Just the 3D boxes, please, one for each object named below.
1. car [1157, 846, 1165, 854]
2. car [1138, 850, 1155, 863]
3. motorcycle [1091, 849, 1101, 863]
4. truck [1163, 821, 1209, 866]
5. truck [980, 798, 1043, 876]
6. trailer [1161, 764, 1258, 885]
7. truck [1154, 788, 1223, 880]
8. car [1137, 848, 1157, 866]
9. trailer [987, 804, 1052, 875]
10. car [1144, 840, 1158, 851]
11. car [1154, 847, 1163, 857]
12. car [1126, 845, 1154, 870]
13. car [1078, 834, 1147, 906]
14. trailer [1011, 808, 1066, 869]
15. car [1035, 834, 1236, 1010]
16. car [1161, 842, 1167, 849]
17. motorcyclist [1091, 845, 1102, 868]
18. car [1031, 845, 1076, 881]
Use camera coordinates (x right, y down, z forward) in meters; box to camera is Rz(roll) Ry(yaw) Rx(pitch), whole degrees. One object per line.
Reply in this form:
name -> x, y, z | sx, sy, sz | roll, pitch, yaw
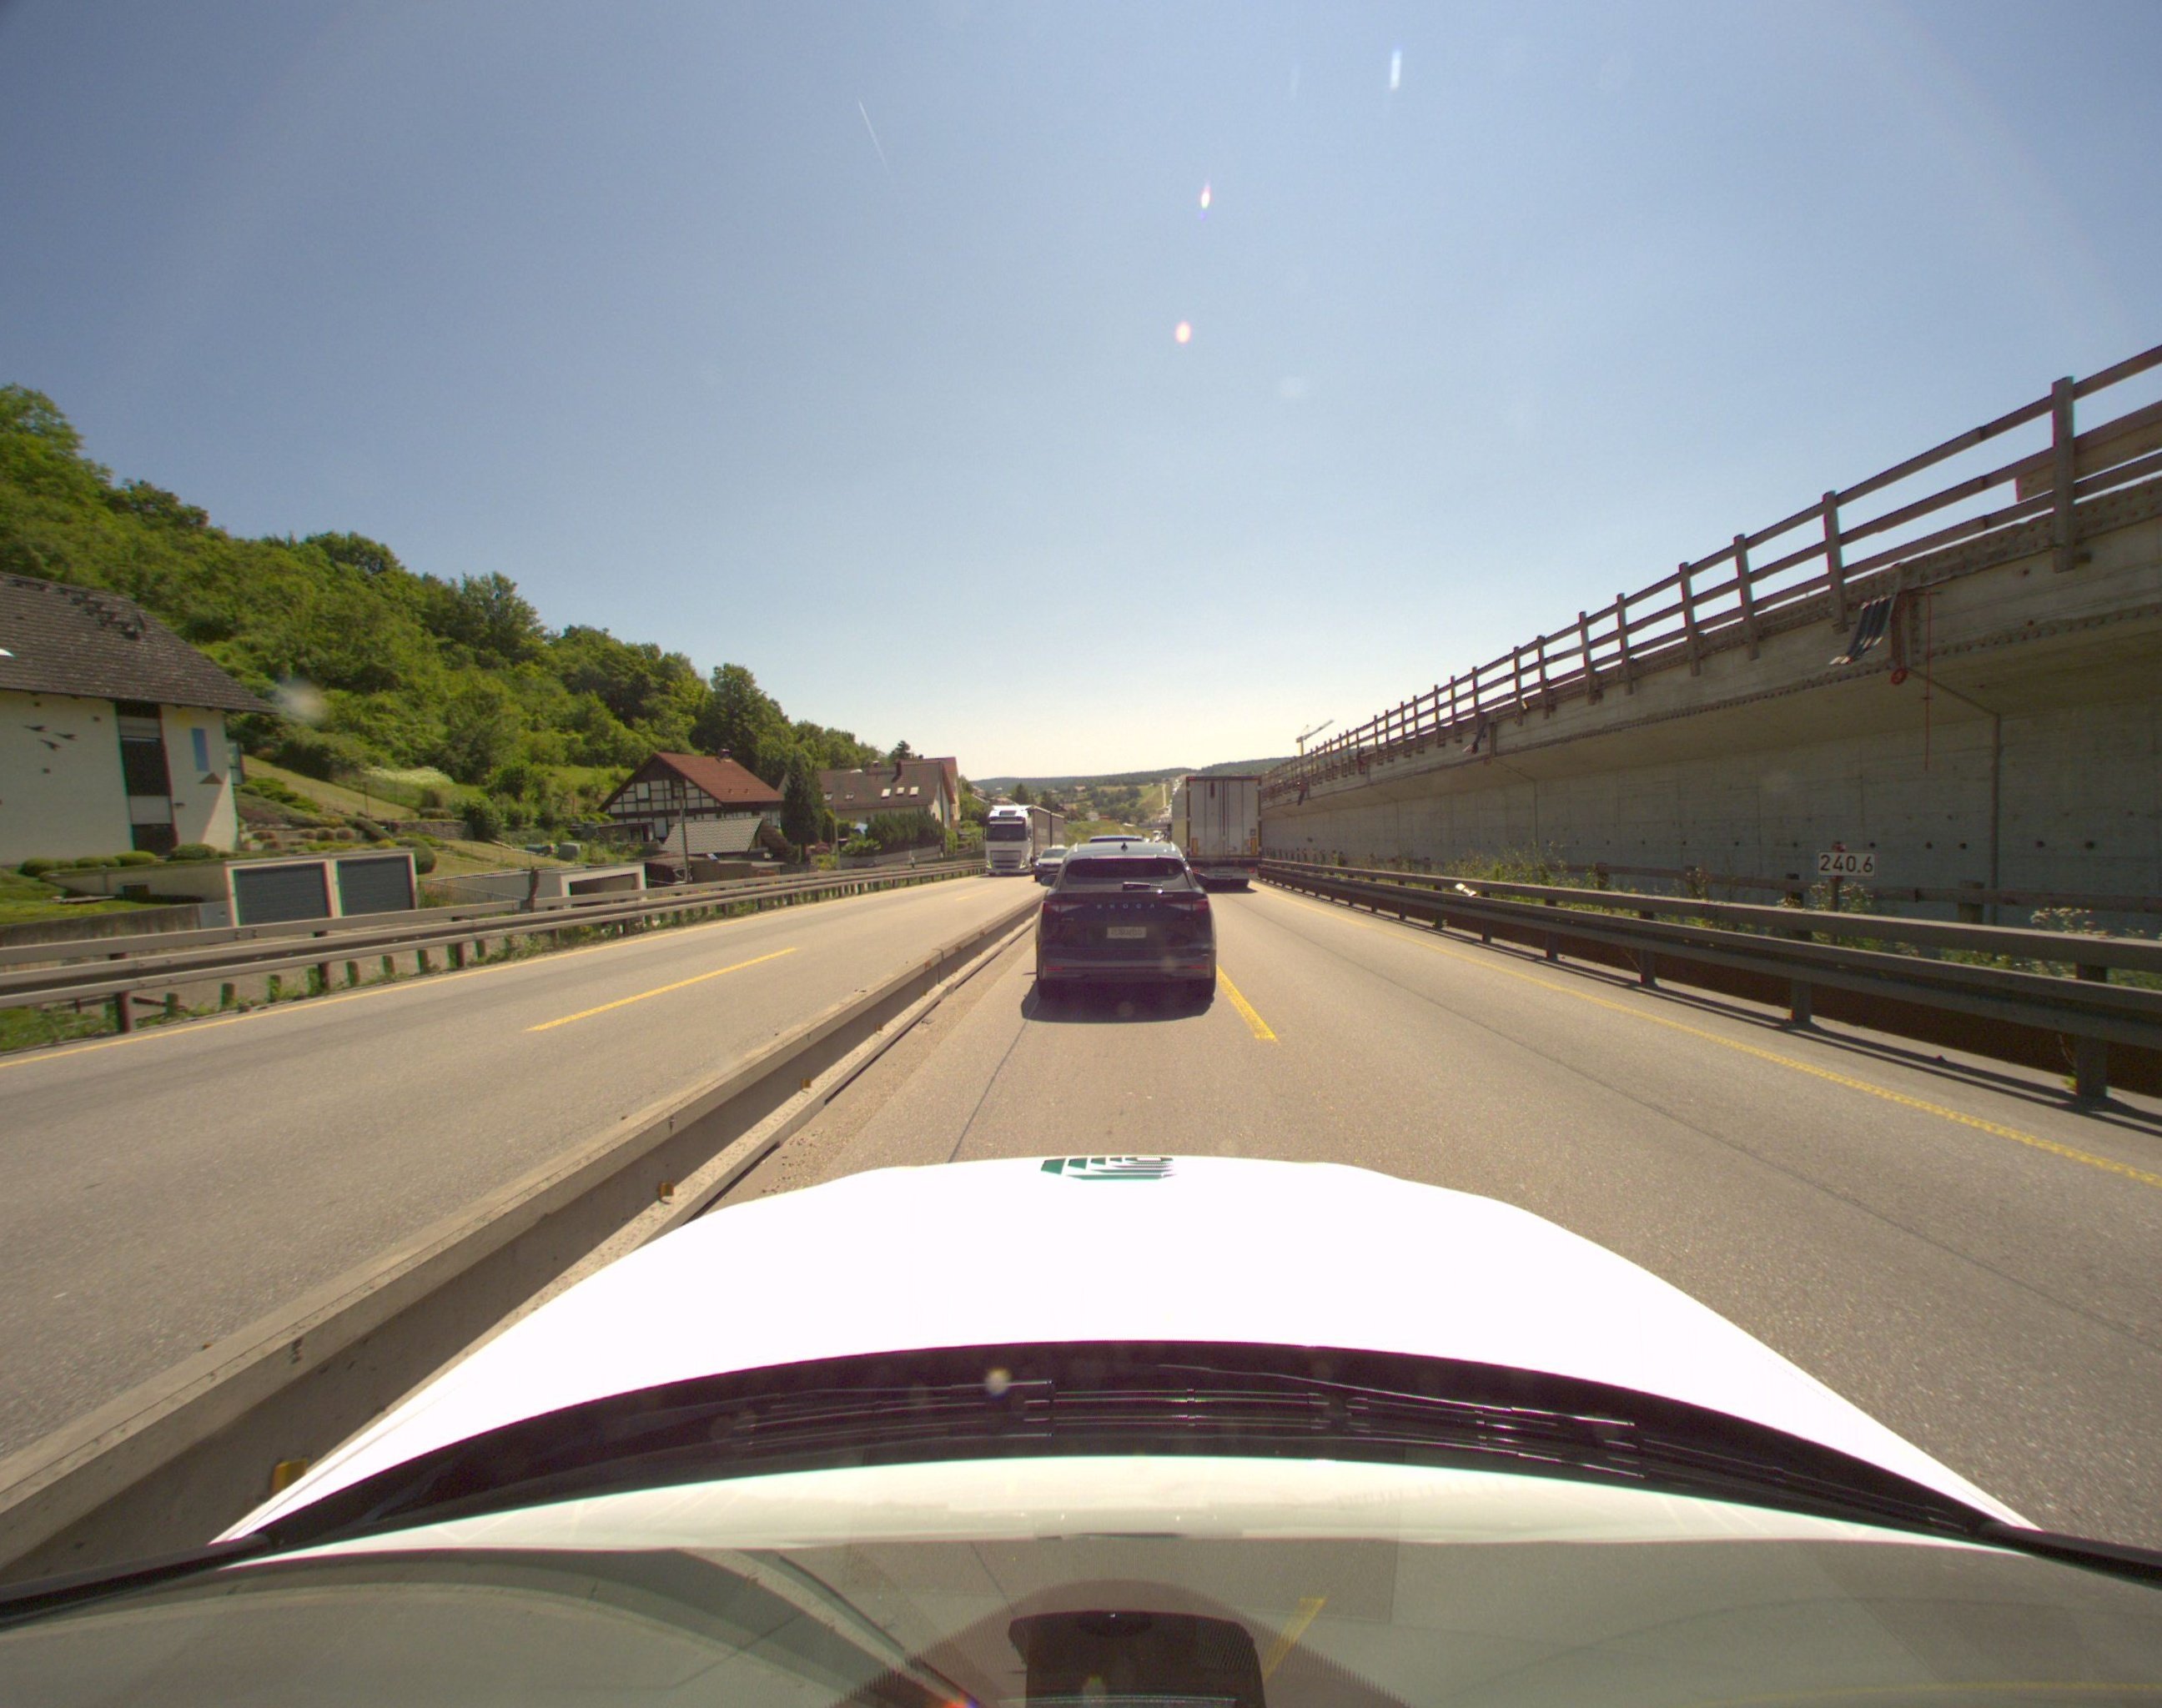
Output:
car -> 17.260, -0.829, 175.314 | 1.692, 1.728, 3.843 | -1, -1, 6
car -> 8.161, 0.353, 101.244 | 1.985, 1.585, 3.839 | 0, -1, 3
motorcycle -> 1.237, 0.154, 66.719 | 0.783, 1.080, 1.914 | 0, 1, 3
truck -> 8.242, -0.699, 65.273 | 3.179, 3.191, 12.827 | -1, -1, 5
truck -> -3.991, -0.950, 47.606 | 2.738, 4.283, 4.965 | 0, 0, 5
trailer -> 4.965, -0.951, 33.591 | 2.522, 4.127, 11.552 | 0, -1, 2
truck -> 5.128, -0.843, 40.238 | 2.504, 4.025, 8.239 | 0, -1, 1
car -> 6.334, 0.274, 78.065 | 1.700, 1.622, 4.002 | 0, 1, 2
trailer -> -3.715, -0.929, 51.124 | 2.744, 4.070, 8.019 | 0, 1, 5
car -> 10.563, -1.255, 123.203 | 1.985, 1.585, 3.839 | 0, -1, 3
car -> 14.099, -0.425, 148.151 | 1.692, 1.728, 3.843 | -1, -1, 6
car -> 3.921, 0.187, 54.687 | 1.700, 1.622, 4.002 | 0, 1, 2
car -> 0.823, 0.393, 23.601 | 1.702, 1.881, 3.997 | 0, 1, -2
trailer -> -2.970, -1.130, 59.433 | 2.744, 4.070, 8.647 | 0, 1, 5
car -> 0.442, 0.639, 9.425 | 1.838, 1.586, 3.904 | 0, -1, -2
car -> 22.593, -2.280, 222.211 | 1.692, 1.728, 3.843 | -1, -1, 6
motorcyclist -> 1.235, 0.229, 66.593 | 0.850, 1.855, 0.984 | 0, 0, 2
car -> -1.270, 0.421, 39.173 | 1.852, 1.611, 4.070 | 0, -1, 2
